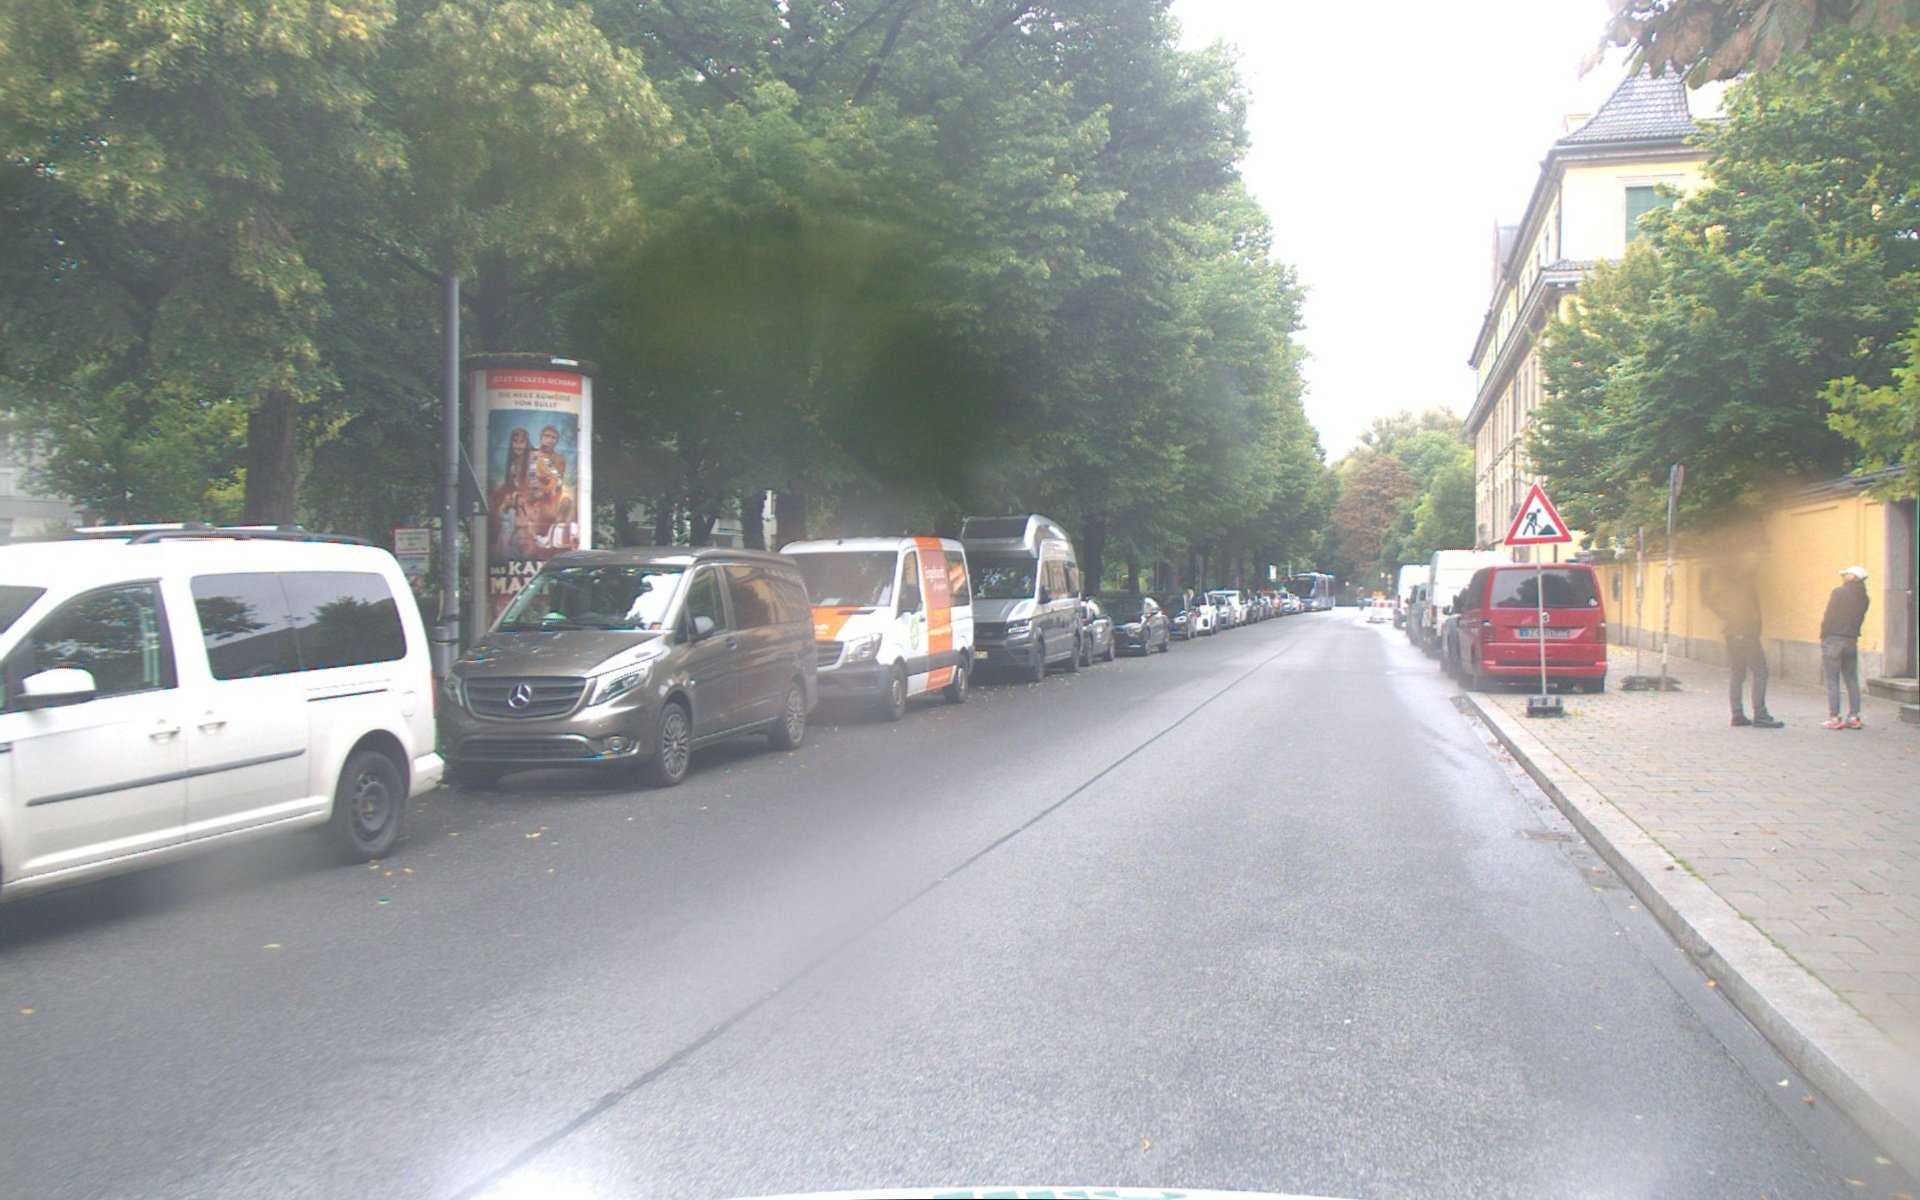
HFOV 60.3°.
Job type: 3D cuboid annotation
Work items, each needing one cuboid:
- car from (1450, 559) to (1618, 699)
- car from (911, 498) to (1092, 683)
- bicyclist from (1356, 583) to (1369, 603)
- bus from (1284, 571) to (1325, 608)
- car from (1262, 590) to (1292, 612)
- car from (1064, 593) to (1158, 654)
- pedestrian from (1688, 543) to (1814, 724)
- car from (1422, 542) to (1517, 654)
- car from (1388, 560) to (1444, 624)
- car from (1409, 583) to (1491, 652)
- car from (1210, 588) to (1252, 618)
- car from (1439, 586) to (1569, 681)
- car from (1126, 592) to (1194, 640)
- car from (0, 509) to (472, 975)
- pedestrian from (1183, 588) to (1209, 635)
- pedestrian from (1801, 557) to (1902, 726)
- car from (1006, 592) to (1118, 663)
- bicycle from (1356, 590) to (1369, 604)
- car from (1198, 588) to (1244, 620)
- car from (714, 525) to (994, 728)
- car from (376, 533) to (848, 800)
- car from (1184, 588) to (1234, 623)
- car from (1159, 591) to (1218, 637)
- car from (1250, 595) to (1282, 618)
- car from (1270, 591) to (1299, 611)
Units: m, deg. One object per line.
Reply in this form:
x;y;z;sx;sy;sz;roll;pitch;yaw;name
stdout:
8.891;0.393;26.018;1.870;1.971;4.973;0;0;12;car
0.923;-0.175;30.664;2.126;3.055;6.238;0;0;13;car
32.749;-0.571;134.532;0.999;1.572;1.258;0;0;14;bicyclist
28.597;-0.878;137.486;2.875;2.970;8.247;0;0;8;bus
21.709;0.073;113.307;1.951;1.445;4.004;0;0;11;car
3.841;0.550;41.548;1.951;1.445;4.133;0;0;11;car
8.413;0.339;17.620;0.805;1.868;0.949;0;0;-13;pedestrian
12.651;-0.066;41.350;1.951;2.603;5.435;0;0;14;car
19.832;-0.351;72.065;1.800;2.668;4.388;0;0;8;car
14.175;0.478;48.048;1.951;1.915;4.004;0;0;12;car
13.512;0.140;82.309;1.951;1.445;4.004;0;0;11;car
10.232;0.577;31.428;1.951;1.663;4.568;0;0;13;car
6.671;0.500;54.830;1.951;1.513;4.133;0;0;11;car
-4.673;0.583;8.293;2.039;1.937;4.862;0;0;15;car
8.197;0.390;57.546;0.865;1.625;0.824;0;0;6;pedestrian
9.155;0.413;16.999;0.621;1.696;0.696;0;0;-8;pedestrian
2.297;0.561;36.205;1.951;1.445;4.004;0;0;11;car
32.780;-0.251;134.725;0.999;1.177;2.487;0;0;14;bicycle
12.076;0.151;76.407;1.951;1.445;4.004;0;0;11;car
-1.206;0.303;22.015;2.039;2.304;5.607;-2;0;14;car
-2.790;0.488;14.983;1.983;1.941;5.672;-1;0;12;car
10.694;0.225;70.877;1.951;1.445;4.004;0;0;11;car
8.471;0.491;61.097;1.951;1.648;4.133;0;0;11;car
19.362;0.395;104.655;1.951;1.445;4.004;0;0;11;car
23.278;0.064;118.699;1.951;1.445;4.004;0;0;11;car
